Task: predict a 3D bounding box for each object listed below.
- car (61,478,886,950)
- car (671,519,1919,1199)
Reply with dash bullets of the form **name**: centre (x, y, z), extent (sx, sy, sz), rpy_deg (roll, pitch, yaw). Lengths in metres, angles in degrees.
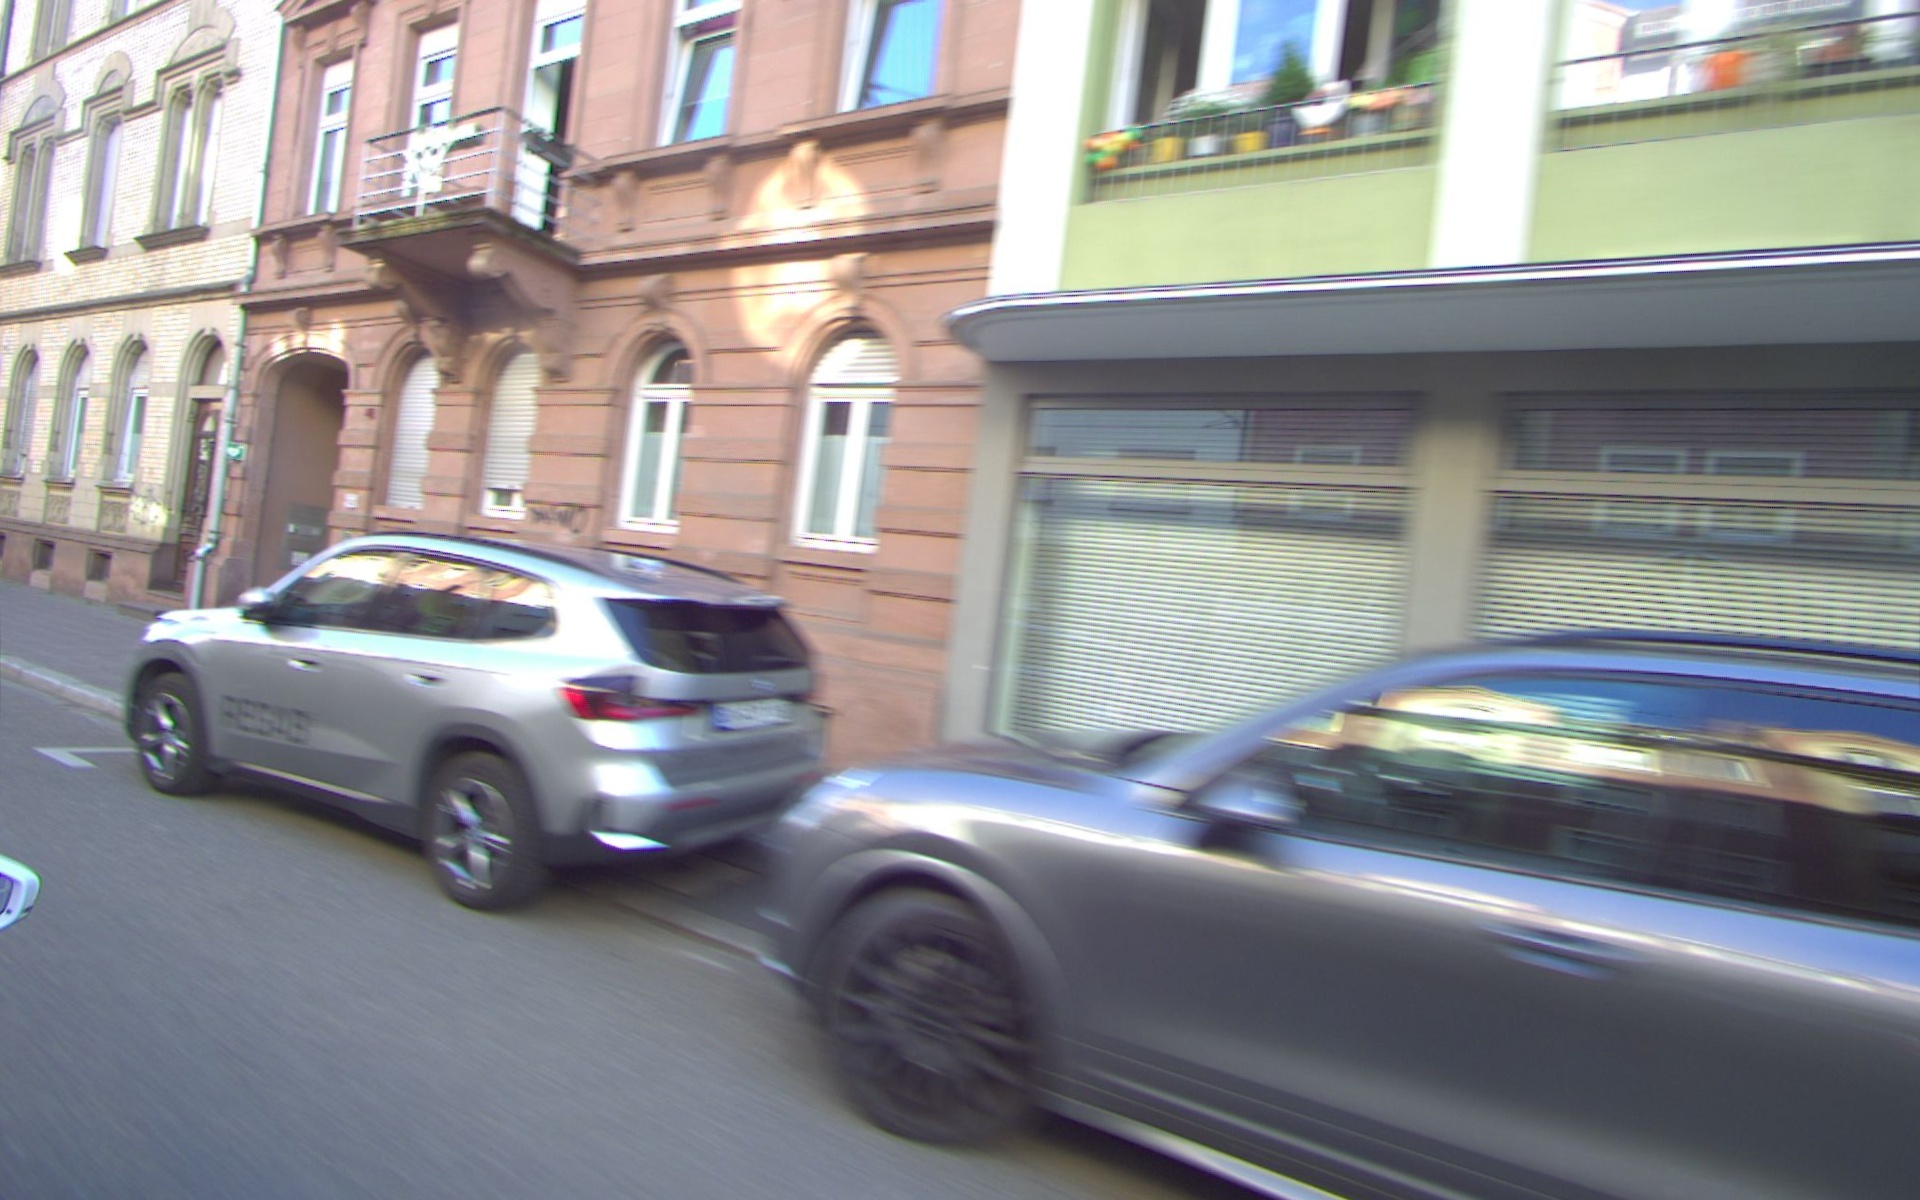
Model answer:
- **car**: centre (-2.839, 0.411, 5.748), extent (4.324, 1.665, 1.871), rpy_deg (6, -2, 27)
- **car**: centre (1.598, 0.799, 3.032), extent (4.706, 1.637, 1.995), rpy_deg (6, 2, 31)
